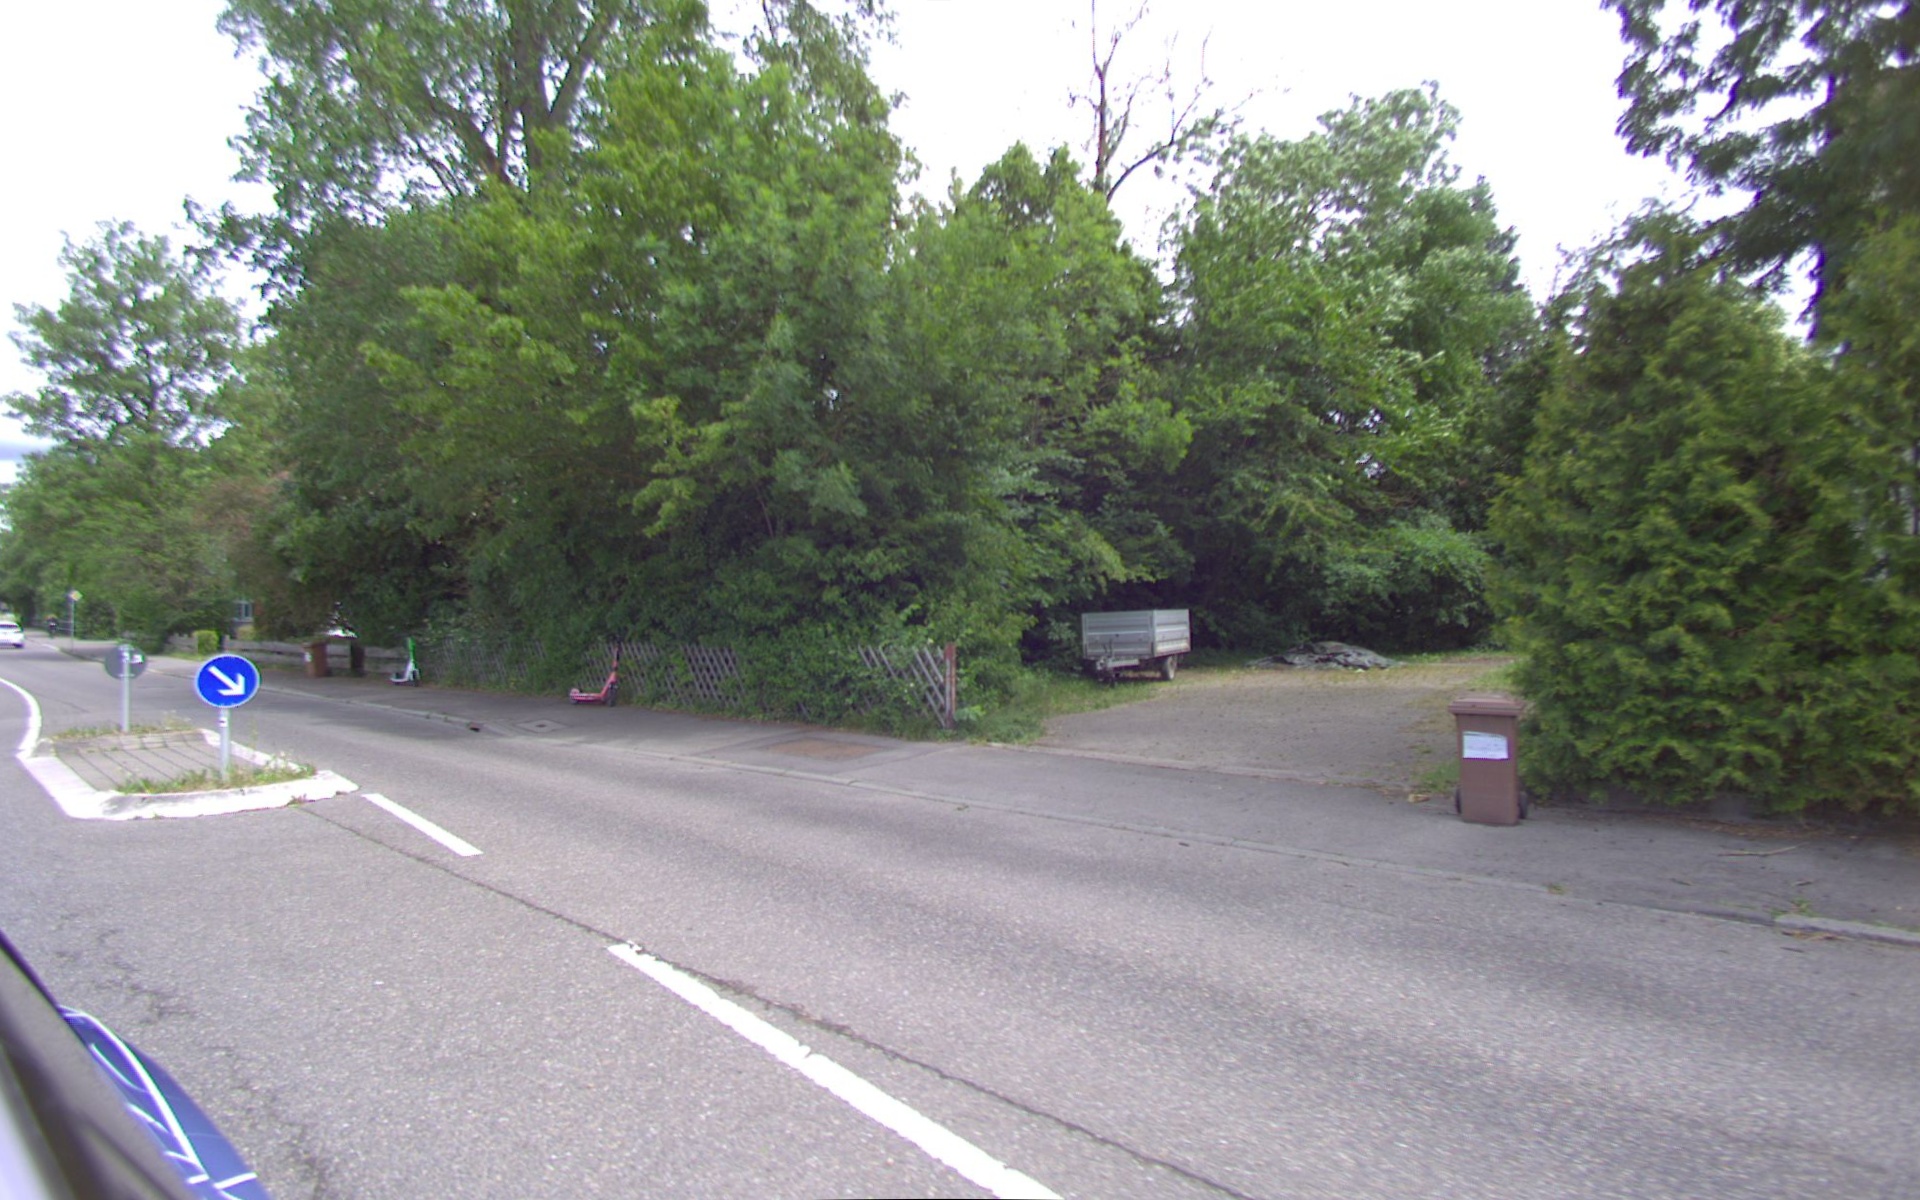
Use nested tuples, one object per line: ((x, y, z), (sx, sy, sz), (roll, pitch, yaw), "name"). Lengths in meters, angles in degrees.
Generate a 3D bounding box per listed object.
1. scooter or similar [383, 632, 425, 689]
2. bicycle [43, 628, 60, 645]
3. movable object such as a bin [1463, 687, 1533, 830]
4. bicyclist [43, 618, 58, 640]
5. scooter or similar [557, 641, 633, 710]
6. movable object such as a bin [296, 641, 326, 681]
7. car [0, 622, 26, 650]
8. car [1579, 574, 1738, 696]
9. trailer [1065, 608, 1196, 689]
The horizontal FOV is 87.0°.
((-12.271, 1.314, 22.323), (0.404, 1.208, 1.640), (1, -1, -44), "scooter or similar")
((-65.489, 2.611, 72.934), (2.309, 1.236, 0.746), (-1, -3, 45), "bicycle")
((3.921, 1.135, 7.389), (0.428, 0.937, 0.460), (-1, 2, 27), "movable object such as a bin")
((-65.674, 2.092, 73.077), (0.870, 1.561, 0.769), (-1, -2, 44), "bicyclist")
((-6.080, 1.244, 16.866), (1.207, 1.089, 0.474), (-1, 0, 26), "scooter or similar")
((-16.538, 1.548, 25.798), (0.569, 0.952, 0.508), (-1, 0, 44), "movable object such as a bin")
((-52.598, 1.957, 55.426), (3.785, 1.441, 1.676), (-1, -3, 41), "car")
((11.201, 0.483, 16.290), (1.880, 1.696, 3.834), (-1, 0, 35), "car")
((3.473, 0.894, 20.161), (1.725, 1.453, 3.488), (-1, -1, 25), "trailer")
